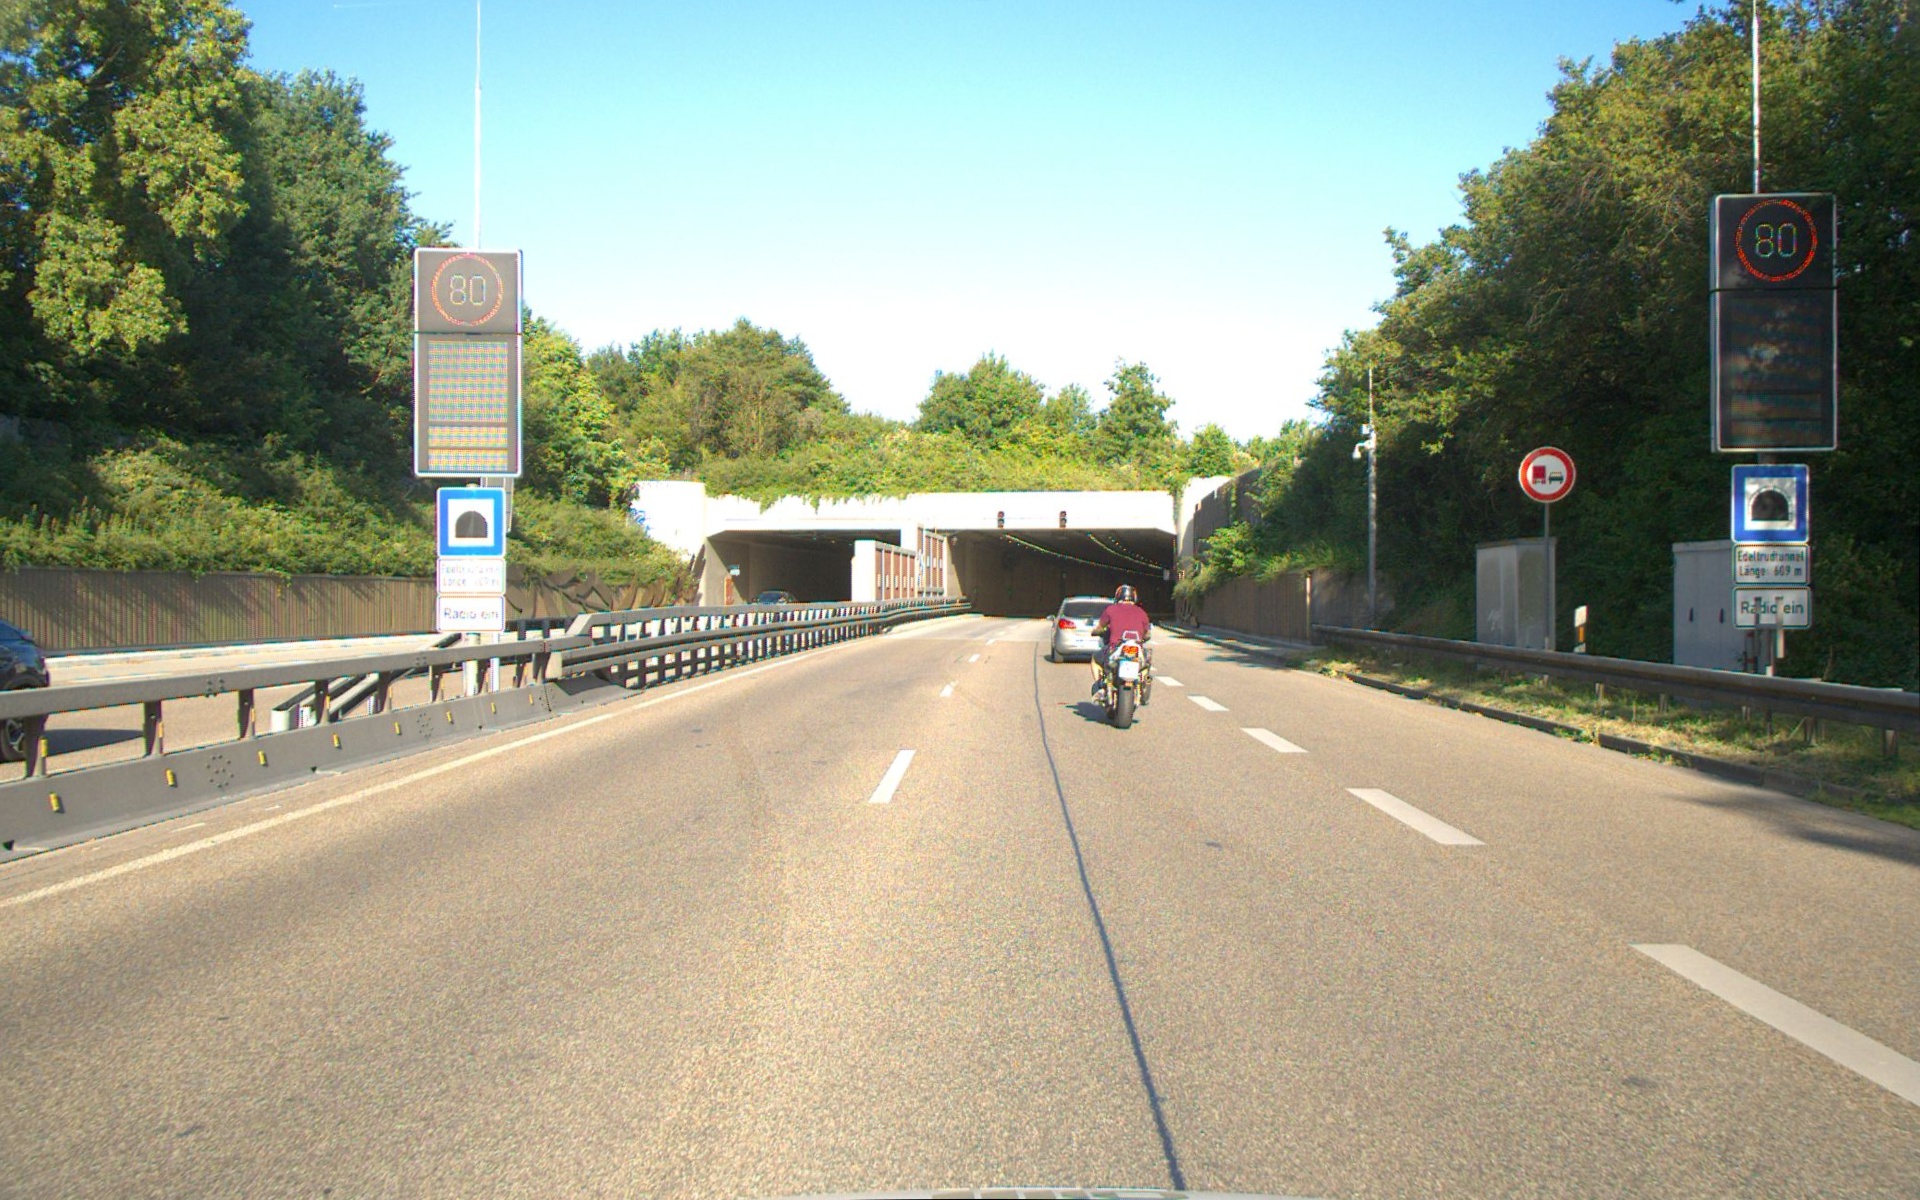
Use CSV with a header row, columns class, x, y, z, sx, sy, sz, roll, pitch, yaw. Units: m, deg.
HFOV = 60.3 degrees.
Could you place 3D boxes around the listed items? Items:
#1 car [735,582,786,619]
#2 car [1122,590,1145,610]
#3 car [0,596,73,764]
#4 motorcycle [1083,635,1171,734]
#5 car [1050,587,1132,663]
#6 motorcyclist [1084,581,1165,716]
class,x,y,z,sx,sy,sz,roll,pitch,yaw
car,-9.960,0.016,82.982,1.632,1.704,4.866,1,1,4
car,17.273,-0.032,164.605,1.951,1.959,4.004,0,1,10
car,-9.755,0.759,14.175,1.952,1.512,4.201,0,1,2
motorcycle,1.934,0.955,19.555,0.841,1.008,2.729,1,0,2
car,2.960,0.528,38.063,1.632,1.579,4.001,1,1,1
motorcyclist,1.938,0.548,19.604,0.864,1.527,1.063,1,1,3
